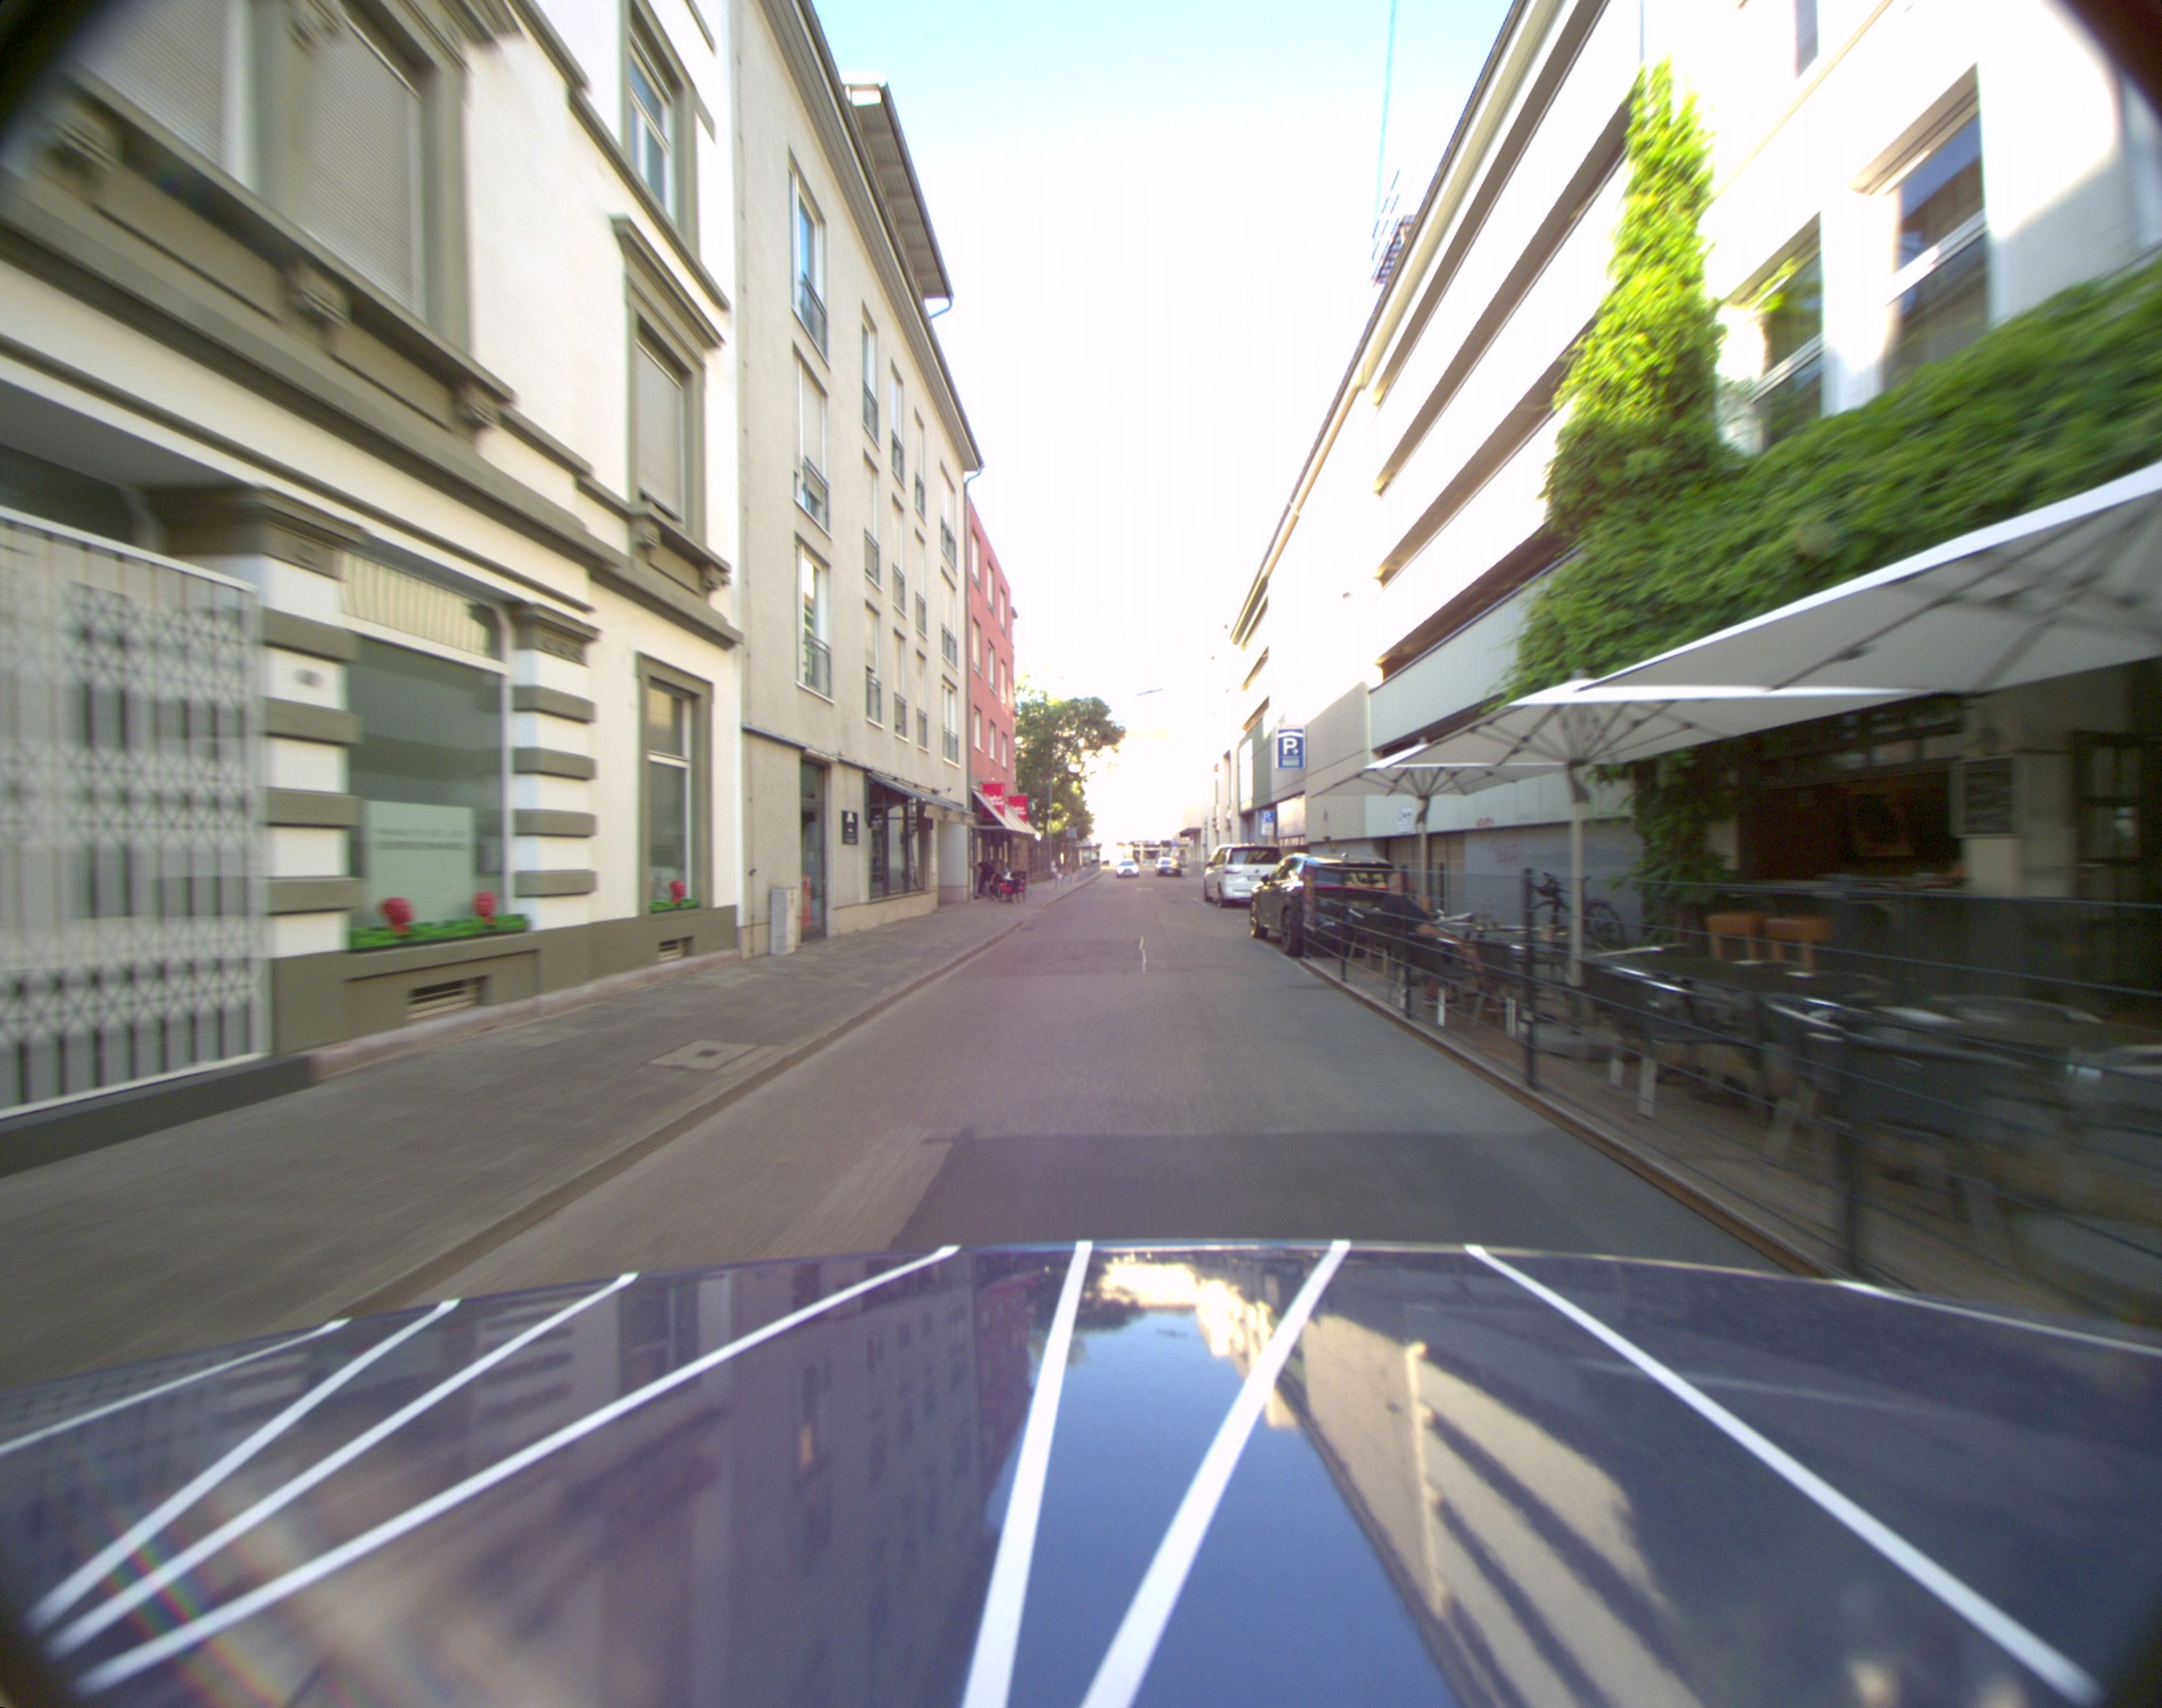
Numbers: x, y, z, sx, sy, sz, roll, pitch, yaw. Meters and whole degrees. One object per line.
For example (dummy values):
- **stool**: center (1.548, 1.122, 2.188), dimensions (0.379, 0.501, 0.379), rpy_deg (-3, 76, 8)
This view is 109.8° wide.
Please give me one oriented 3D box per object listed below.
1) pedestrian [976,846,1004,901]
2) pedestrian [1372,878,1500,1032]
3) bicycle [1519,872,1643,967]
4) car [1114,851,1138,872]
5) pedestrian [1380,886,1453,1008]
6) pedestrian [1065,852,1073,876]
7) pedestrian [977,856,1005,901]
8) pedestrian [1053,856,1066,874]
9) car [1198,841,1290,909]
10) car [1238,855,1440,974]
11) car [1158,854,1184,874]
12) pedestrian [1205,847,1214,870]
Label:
- **pedestrian**: center (-3.031, 0.629, 25.295), dimensions (0.661, 1.782, 0.729), rpy_deg (2, 1, -24)
- **pedestrian**: center (3.202, 0.878, 6.938), dimensions (0.782, 1.279, 0.915), rpy_deg (0, 1, 4)
- **bicycle**: center (6.890, 0.861, 10.581), dimensions (0.644, 1.153, 1.794), rpy_deg (-1, 0, 5)
- **car**: center (3.645, 0.590, 60.776), dimensions (1.788, 1.515, 4.001), rpy_deg (-3, 0, 4)
- **pedestrian**: center (3.490, 0.930, 7.894), dimensions (0.552, 1.159, 0.743), rpy_deg (0, 1, 36)
- **pedestrian**: center (-0.836, 0.682, 52.500), dimensions (0.437, 1.637, 0.558), rpy_deg (1, 1, 11)
- **pedestrian**: center (-2.993, 0.795, 25.394), dimensions (0.827, 1.477, 0.661), rpy_deg (0, 1, 3)
- **pedestrian**: center (-1.485, 0.761, 52.494), dimensions (0.928, 1.242, 0.362), rpy_deg (1, 1, 1)
- **car**: center (5.055, 0.593, 24.261), dimensions (1.998, 1.928, 4.851), rpy_deg (1, 0, 2)
- **car**: center (4.055, 0.848, 12.903), dimensions (1.885, 1.559, 4.771), rpy_deg (2, 0, 2)
- **car**: center (7.359, 0.803, 62.239), dimensions (1.997, 1.409, 4.560), rpy_deg (1, 1, 7)
- **pedestrian**: center (9.427, 0.317, 55.717), dimensions (0.620, 1.616, 0.565), rpy_deg (-2, 1, 4)
